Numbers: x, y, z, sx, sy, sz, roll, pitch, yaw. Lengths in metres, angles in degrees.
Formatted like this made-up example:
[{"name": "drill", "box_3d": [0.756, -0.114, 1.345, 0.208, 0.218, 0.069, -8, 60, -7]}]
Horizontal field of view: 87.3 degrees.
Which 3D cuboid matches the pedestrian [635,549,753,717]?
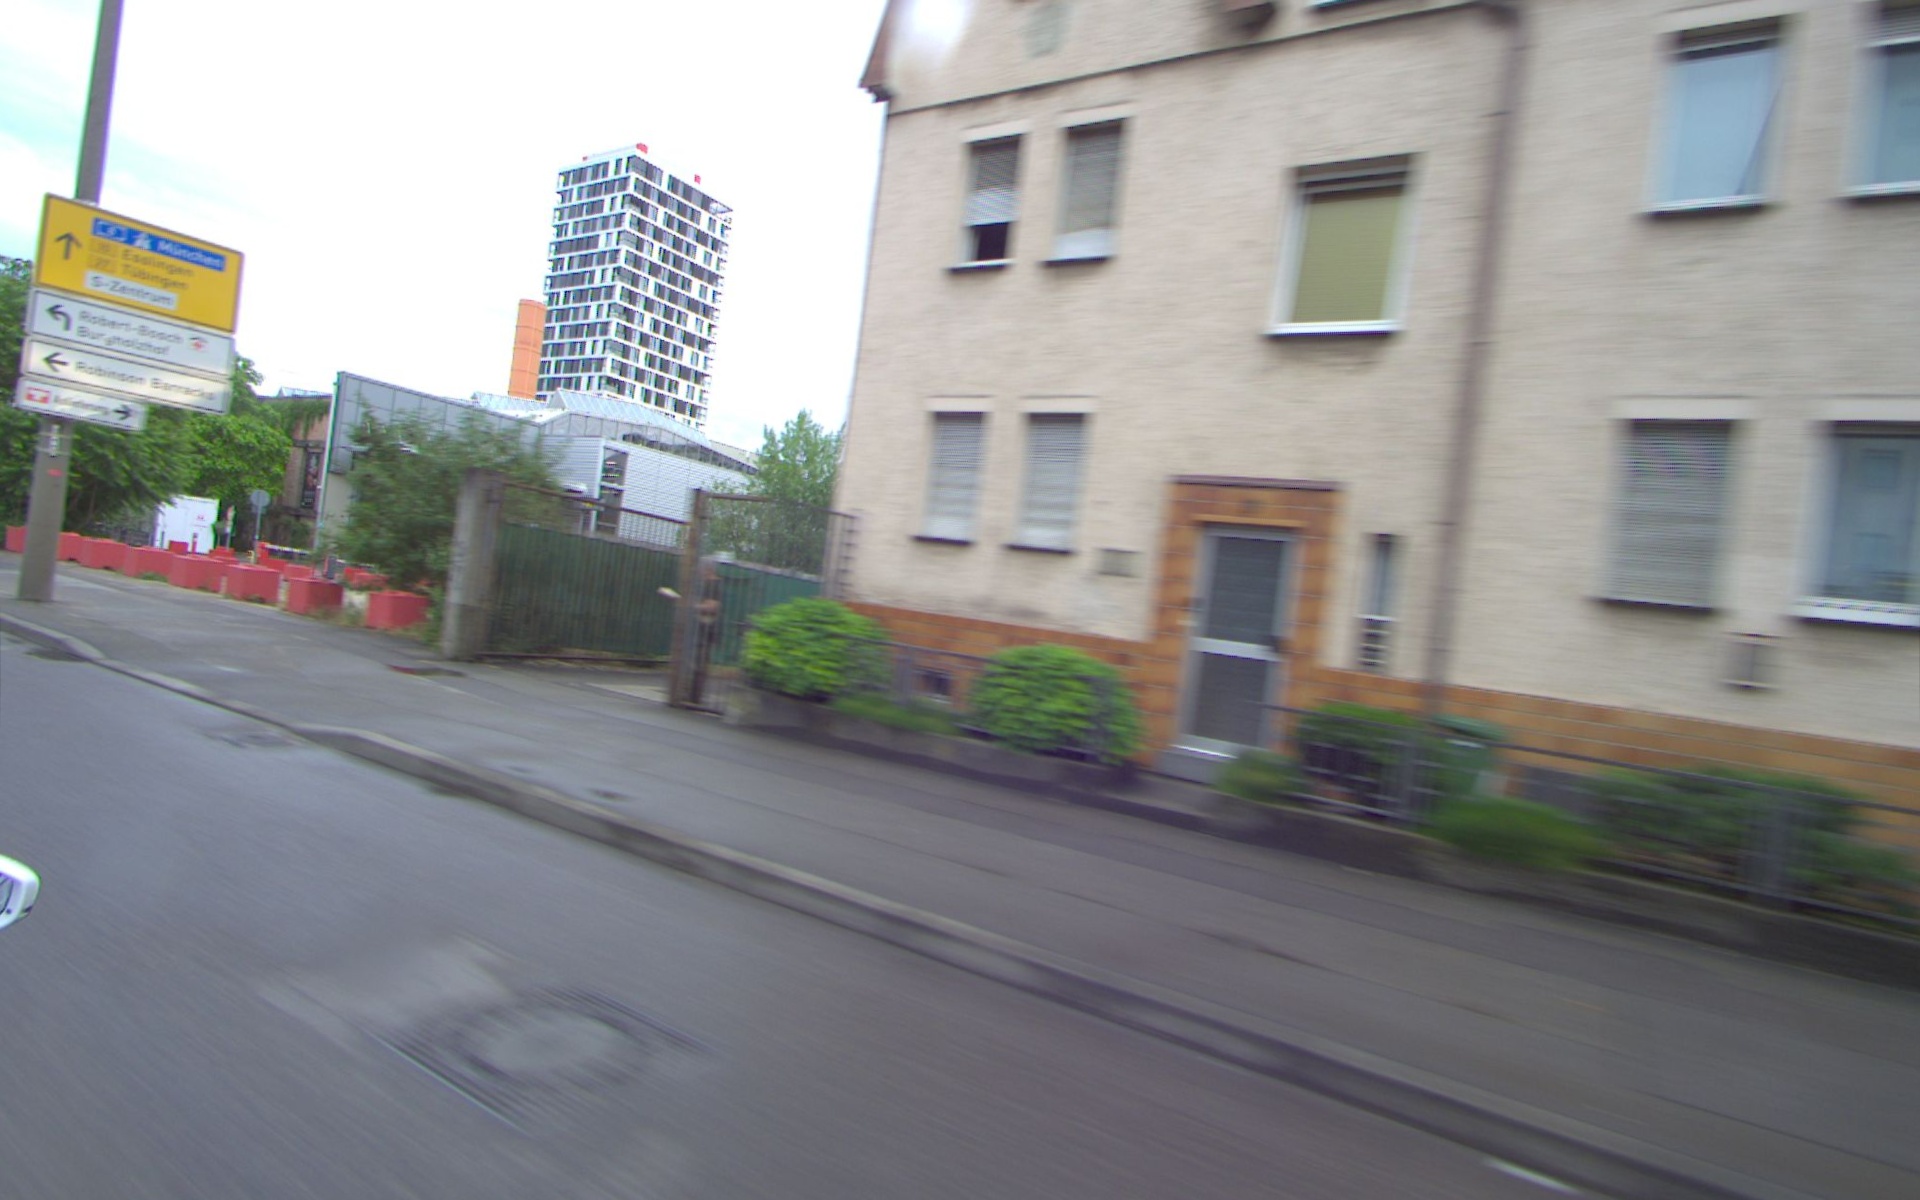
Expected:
[{"name": "pedestrian", "box_3d": [-3.074, 0.375, 11.623, 0.906, 1.784, 0.760, 9, -2, -34]}]
